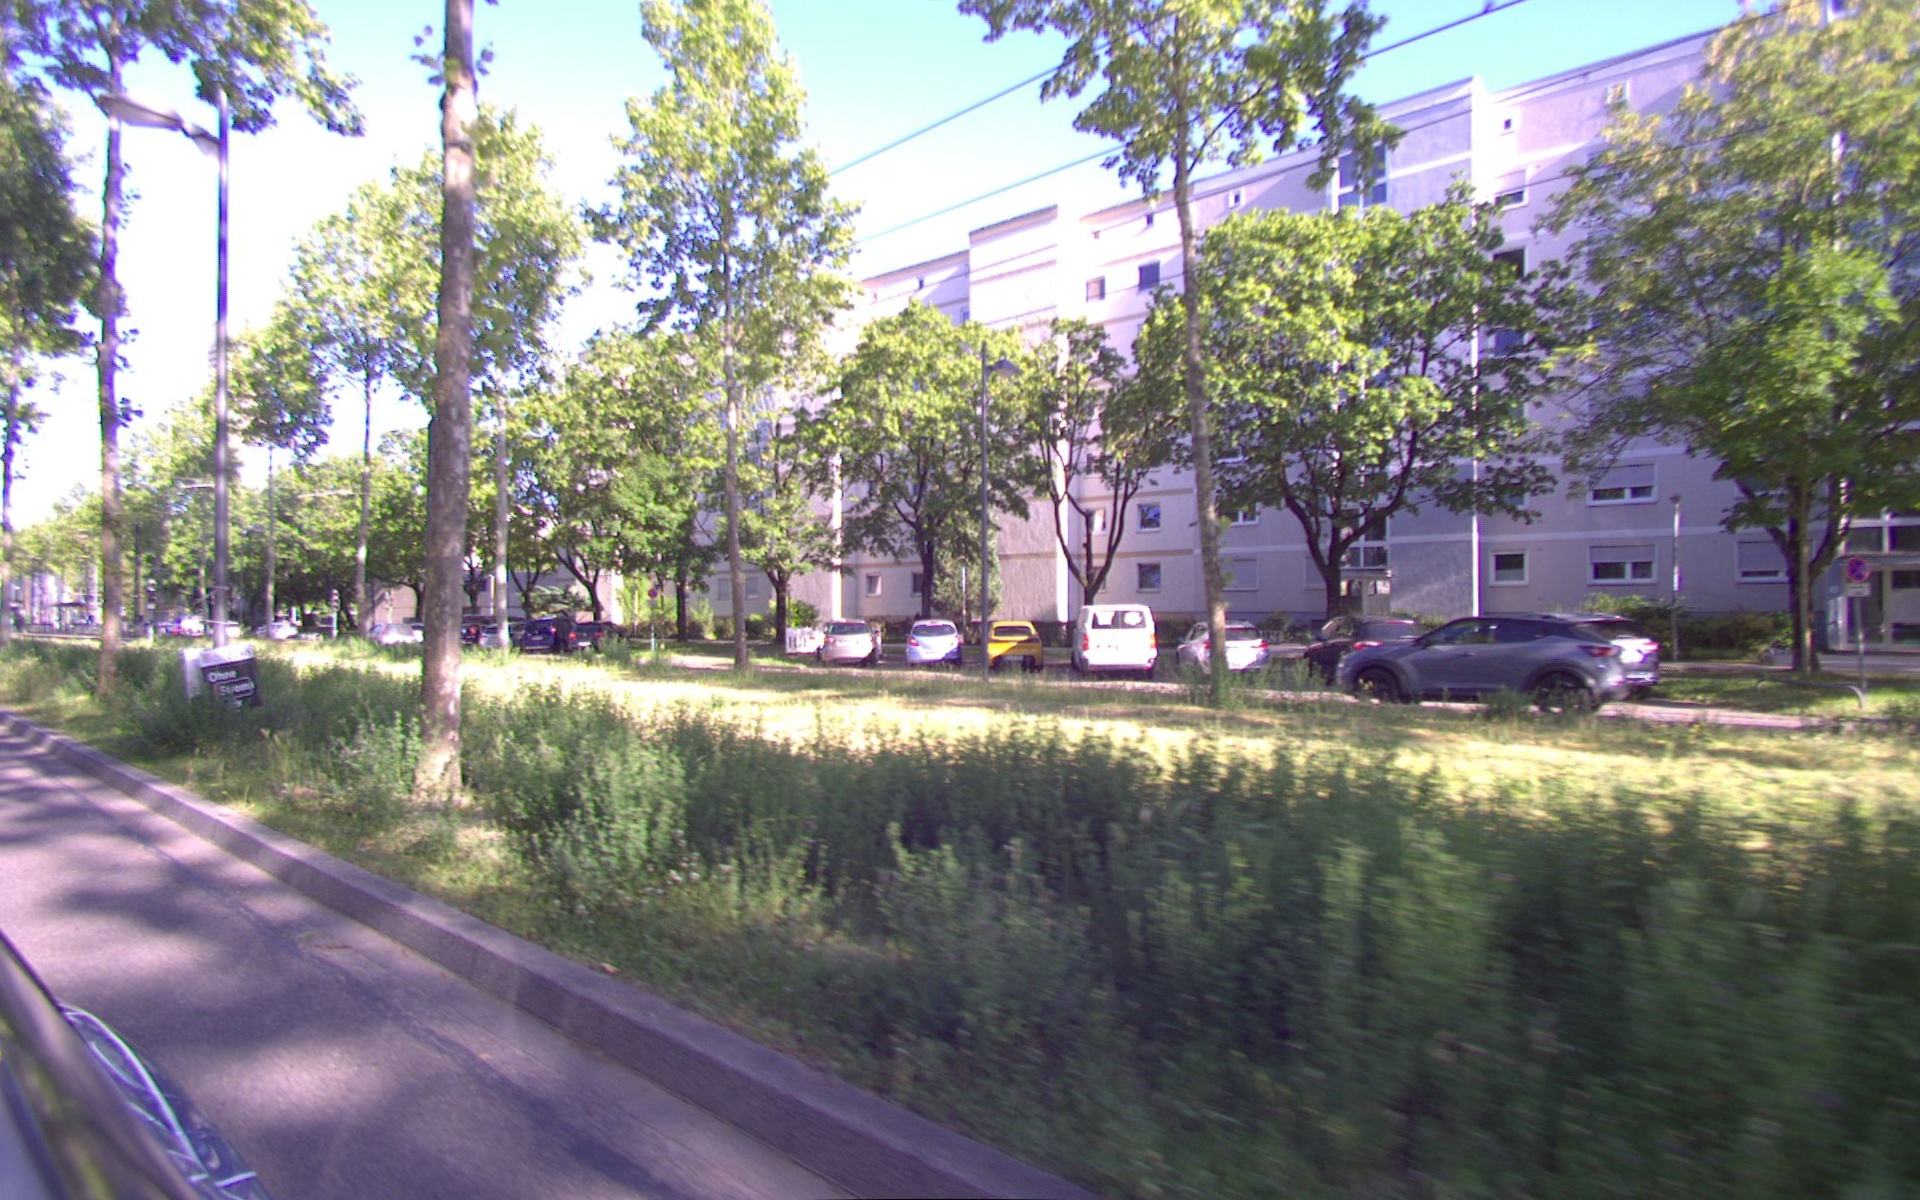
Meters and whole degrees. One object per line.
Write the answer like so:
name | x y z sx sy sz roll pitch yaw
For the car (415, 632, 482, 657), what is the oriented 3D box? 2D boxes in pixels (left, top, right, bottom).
car | -27.889 2.413 55.332 1.814 1.256 3.826 0 -2 -1

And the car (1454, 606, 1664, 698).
car | 11.858 1.002 20.407 1.970 1.619 4.078 -2 -2 5

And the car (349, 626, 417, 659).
car | -28.016 2.021 49.104 3.847 1.497 1.629 -1 -2 41

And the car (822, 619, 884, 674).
car | -3.466 1.493 33.315 1.628 1.658 4.085 -1 -1 -1

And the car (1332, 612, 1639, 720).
car | 8.365 1.022 16.290 4.082 1.518 1.904 -1 -4 40

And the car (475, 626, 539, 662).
car | -22.210 2.146 49.795 1.626 1.658 4.090 1 -1 -5

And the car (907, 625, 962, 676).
car | -0.774 1.525 31.569 1.628 1.494 4.085 0 -1 -1

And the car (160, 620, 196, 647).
car | -68.452 2.932 88.570 3.931 2.279 1.696 -2 -2 41

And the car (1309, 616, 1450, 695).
car | 9.147 1.175 22.439 1.796 1.542 4.076 -2 -2 7

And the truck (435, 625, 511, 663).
truck | -25.049 2.249 52.222 1.631 1.788 4.078 2 -1 5

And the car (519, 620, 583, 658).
car | -19.282 1.826 47.844 1.626 1.658 4.089 -3 -2 -5

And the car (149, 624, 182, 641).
car | -72.117 2.965 91.839 4.017 1.500 1.577 -2 -2 41

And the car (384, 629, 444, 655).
car | -30.903 2.348 57.371 1.811 1.446 3.832 0 -2 -8

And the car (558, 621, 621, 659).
car | -16.539 1.770 45.380 1.626 1.487 4.090 -4 -1 -6

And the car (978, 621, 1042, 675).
car | 1.396 1.381 29.624 1.557 1.443 4.085 -2 -2 -1

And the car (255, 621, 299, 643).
car | -49.923 2.360 73.964 4.200 1.557 1.695 -2 -2 43

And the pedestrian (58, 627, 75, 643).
pedestrian | -73.356 2.837 83.079 0.825 1.270 0.802 -1 -1 -20

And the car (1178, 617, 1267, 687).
car | 6.451 1.222 25.206 1.560 1.443 4.077 -2 0 7

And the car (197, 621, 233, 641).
car | -59.576 2.465 80.880 3.934 1.557 1.695 -2 -2 44

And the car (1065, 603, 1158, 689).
car | 3.914 1.165 26.870 1.867 2.022 4.794 -2 -1 3
